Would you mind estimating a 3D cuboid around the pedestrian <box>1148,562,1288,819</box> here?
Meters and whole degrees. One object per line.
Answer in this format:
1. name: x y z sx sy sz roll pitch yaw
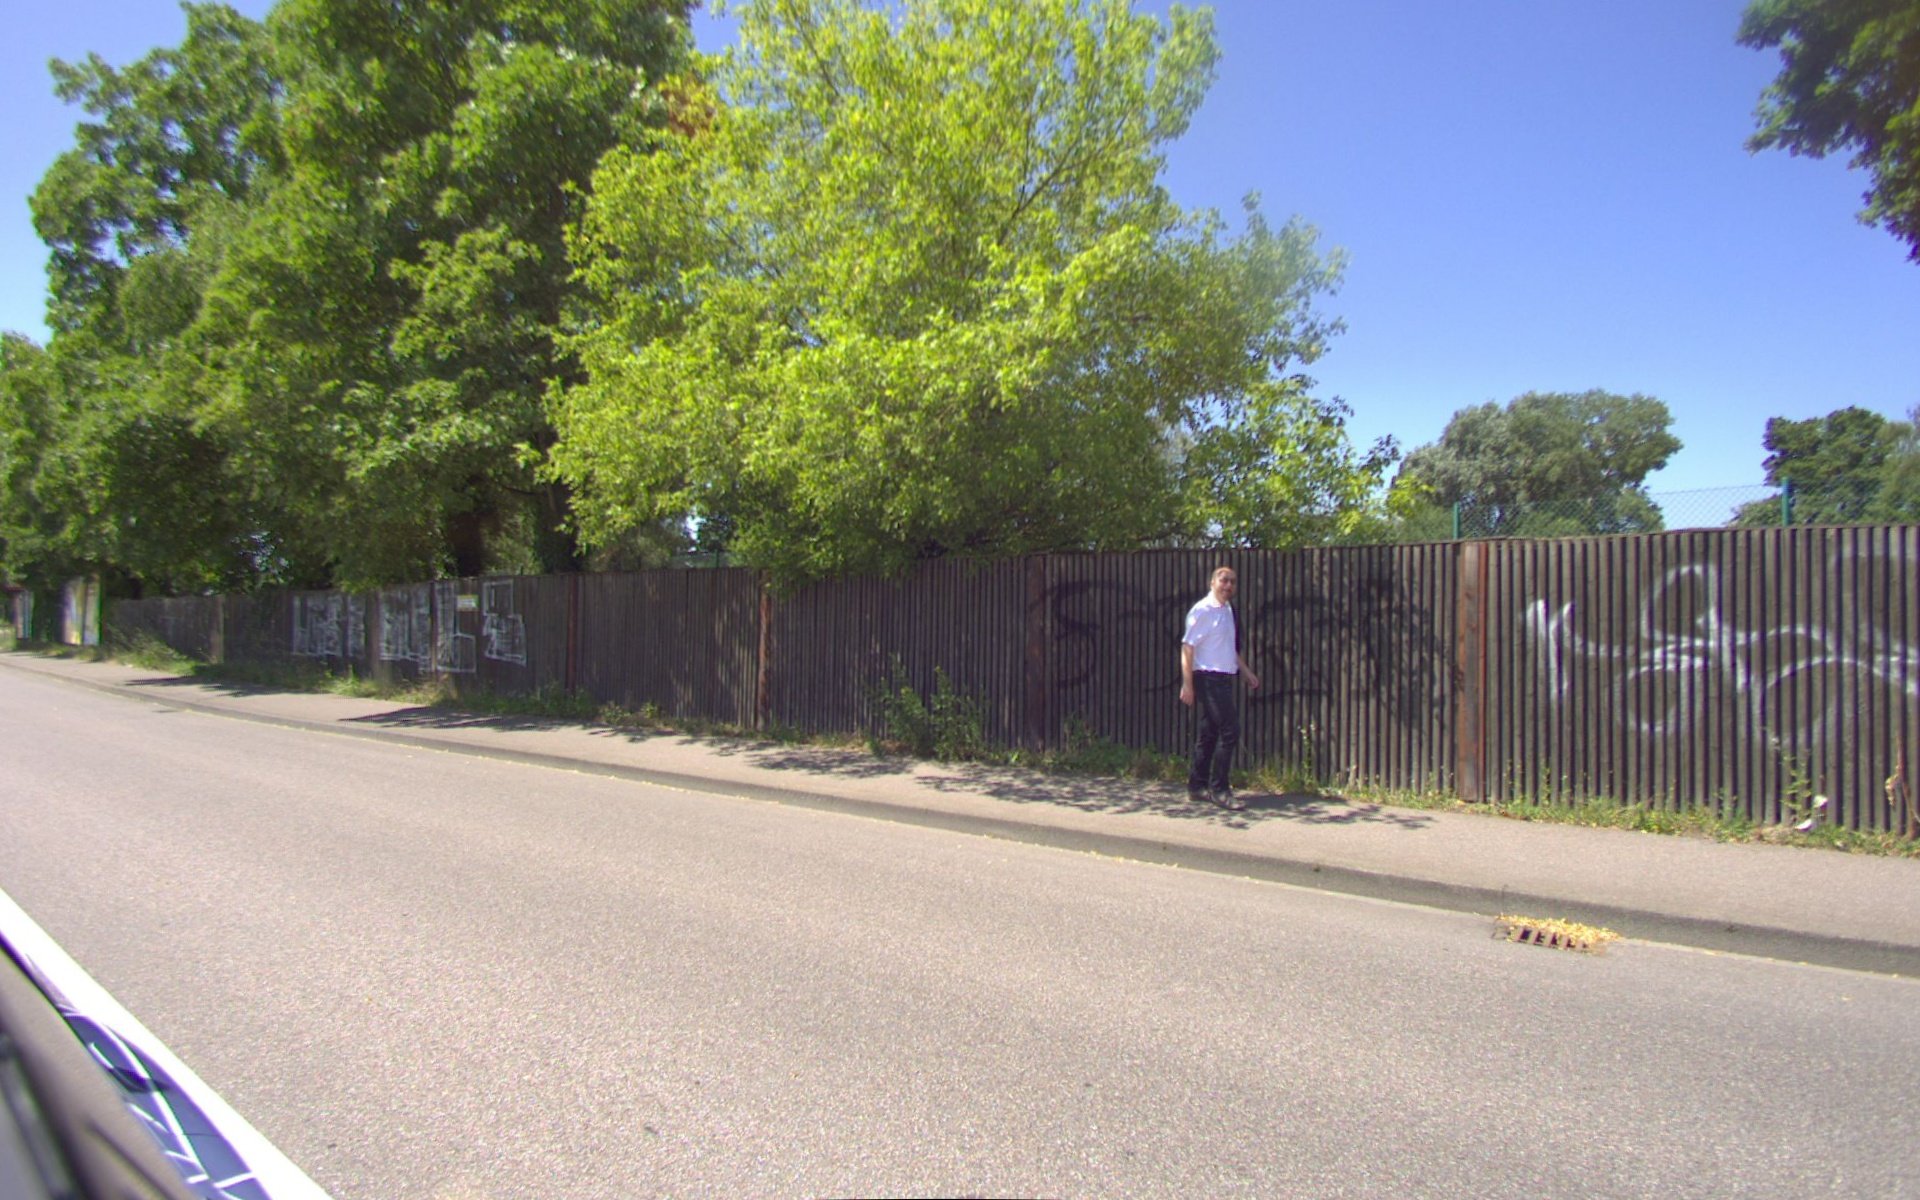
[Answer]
1. pedestrian: 1.967 0.648 7.744 0.850 1.838 0.586 -1 -1 41
